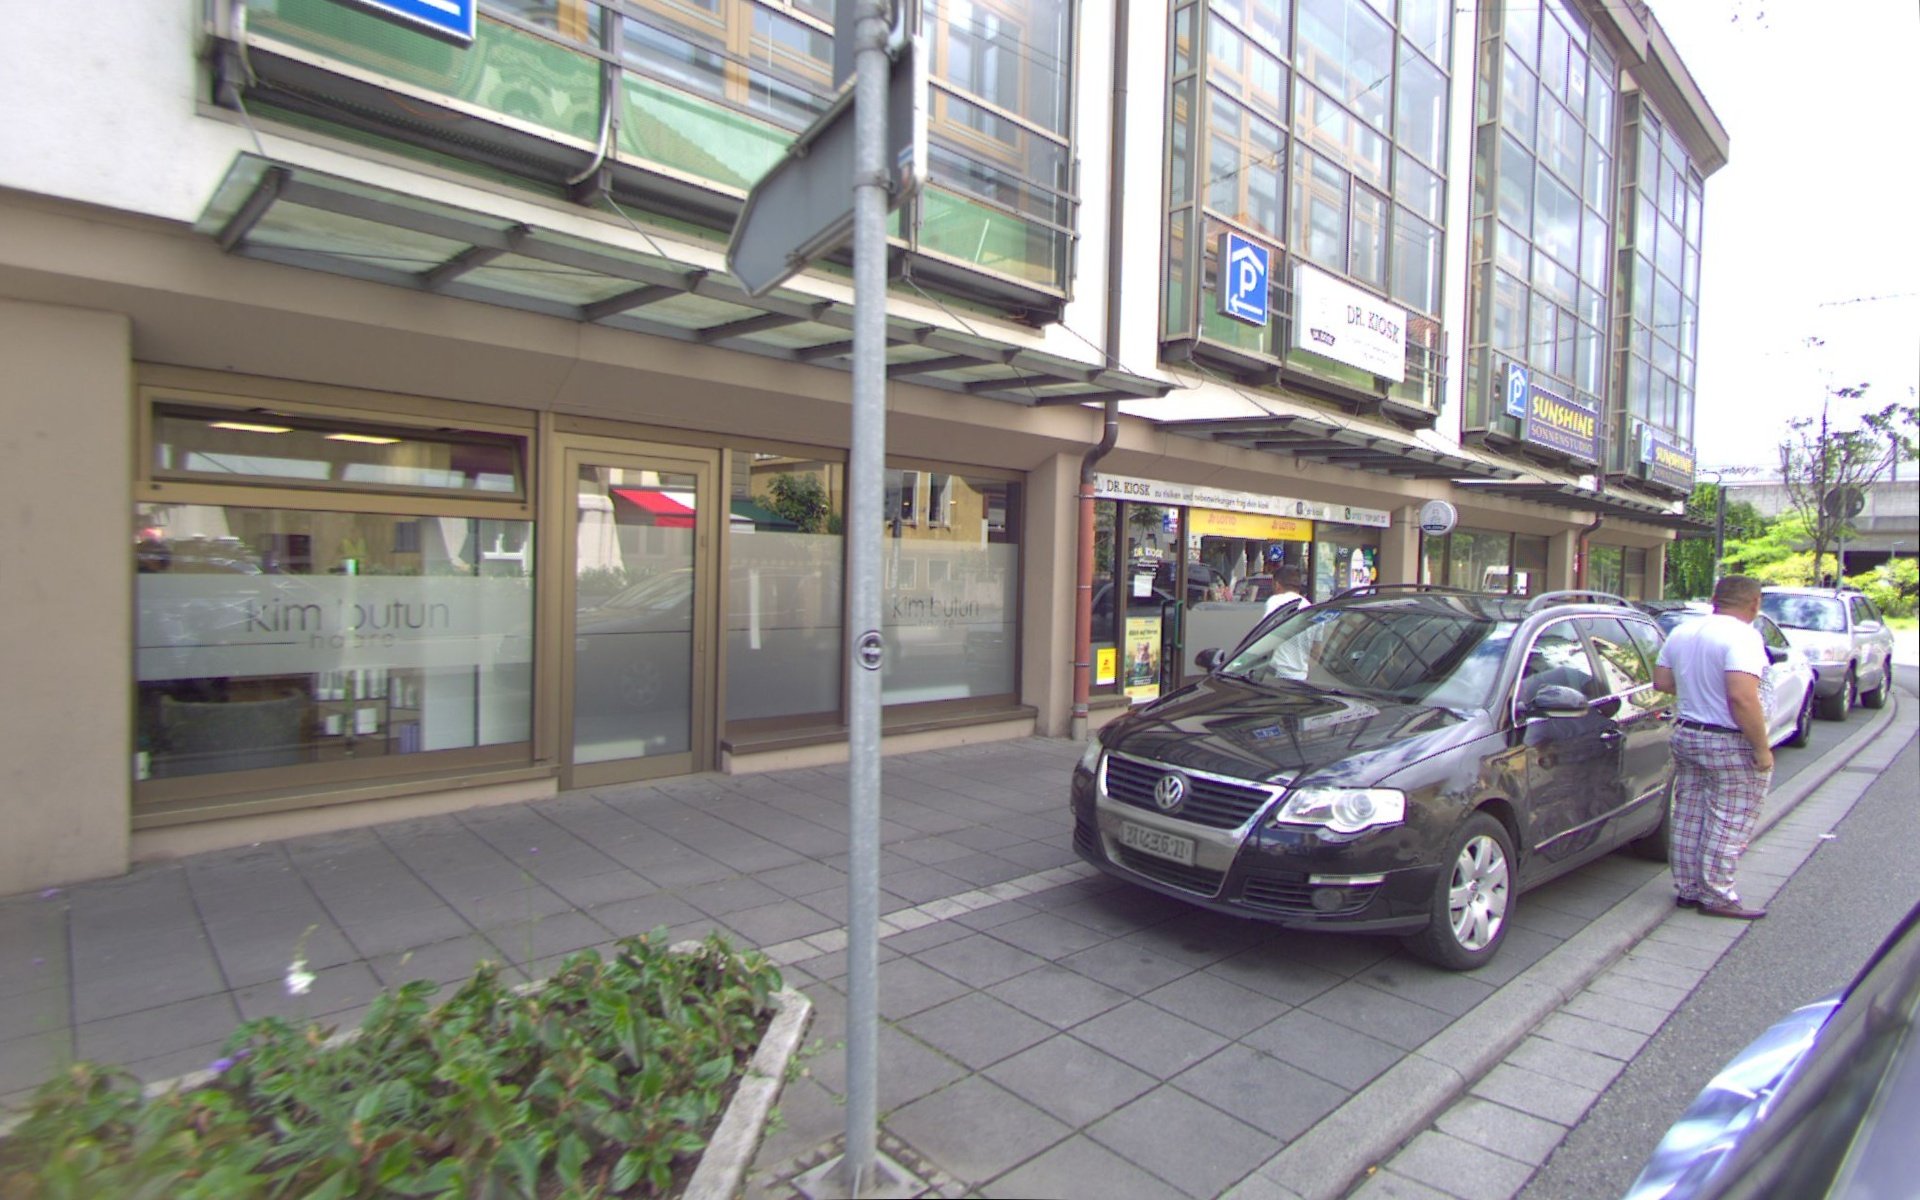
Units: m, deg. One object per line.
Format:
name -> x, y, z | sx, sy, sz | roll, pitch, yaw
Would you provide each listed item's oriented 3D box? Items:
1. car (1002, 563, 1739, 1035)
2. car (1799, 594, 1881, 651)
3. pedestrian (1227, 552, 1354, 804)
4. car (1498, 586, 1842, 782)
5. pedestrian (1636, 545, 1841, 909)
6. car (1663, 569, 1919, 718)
car -> 2.437, 0.596, 5.277 | 4.472, 1.472, 1.718 | 0, 1, -41
car -> 25.965, 0.610, 29.857 | 1.719, 1.545, 3.544 | 2, 2, 42
pedestrian -> 2.204, 0.486, 6.758 | 0.469, 1.582, 0.660 | 0, 0, -41
car -> 7.116, 0.630, 9.945 | 4.458, 1.463, 1.854 | 0, 1, -43
pedestrian -> 3.734, 0.560, 4.875 | 0.537, 1.620, 0.586 | 0, 0, -21
car -> 11.590, 0.497, 13.999 | 4.385, 1.681, 1.826 | 0, 3, -39
